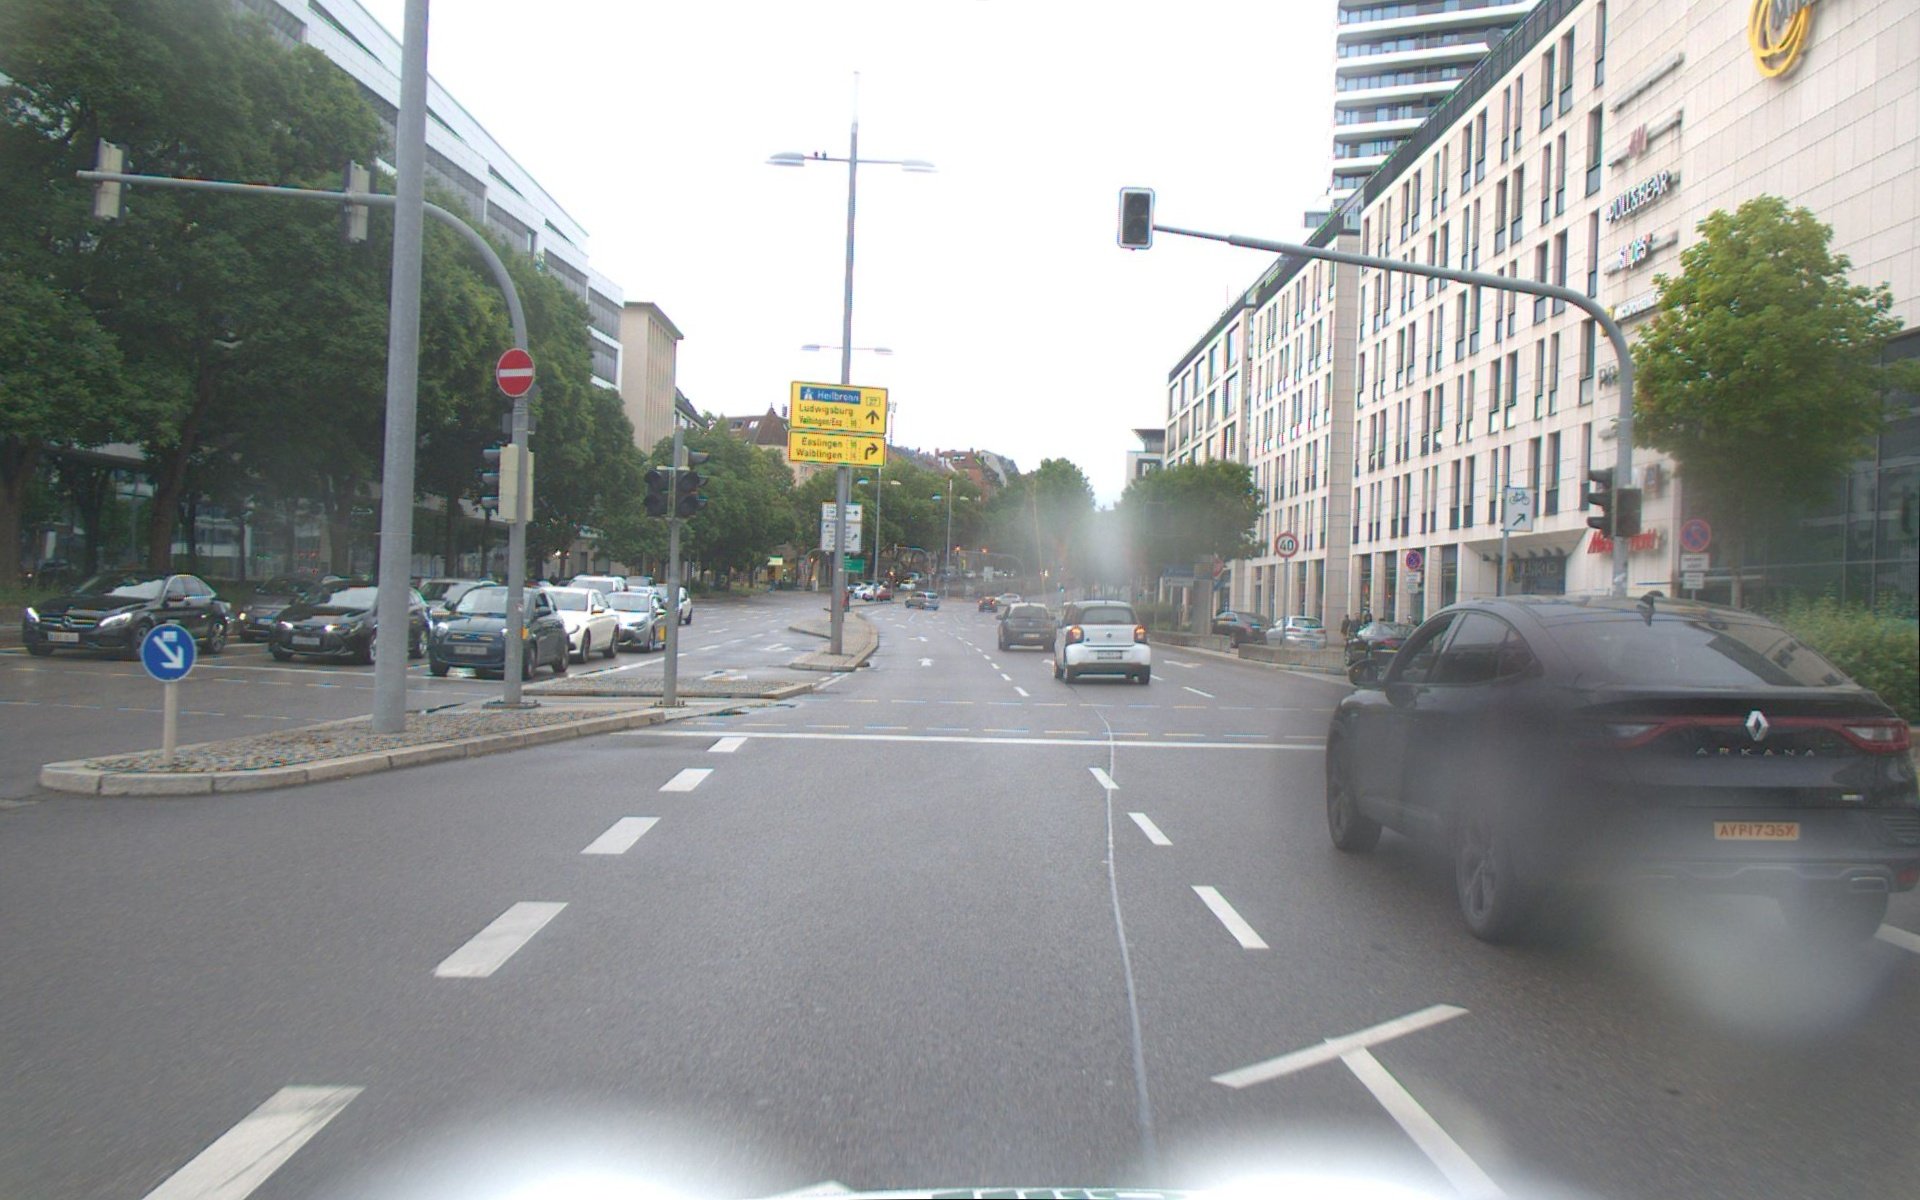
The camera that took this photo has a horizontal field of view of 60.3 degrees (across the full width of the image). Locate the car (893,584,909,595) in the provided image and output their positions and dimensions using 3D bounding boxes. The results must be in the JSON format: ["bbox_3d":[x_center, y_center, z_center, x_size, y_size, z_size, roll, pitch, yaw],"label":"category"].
[{"bbox_3d":[-8.468,-1.460,237.735,1.703,1.558,3.817,1,0,6],"label":"car"}]

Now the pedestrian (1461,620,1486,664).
[{"bbox_3d":[18.325,1.481,59.037,0.660,1.555,0.726,1,-1,-1],"label":"pedestrian"}]

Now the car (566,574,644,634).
[{"bbox_3d":[-11.098,0.152,51.912,1.708,1.779,3.538,1,-1,-1],"label":"car"}]

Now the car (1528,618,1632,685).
[{"bbox_3d":[12.840,1.035,34.388,1.474,1.288,3.505,1,-1,12],"label":"car"}]

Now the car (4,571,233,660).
[{"bbox_3d":[-14.017,0.270,27.830,1.708,1.352,4.224,1,-1,-1],"label":"car"}]

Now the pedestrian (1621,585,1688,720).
[{"bbox_3d":[9.769,0.737,23.271,0.712,1.864,0.510,1,-1,-1],"label":"pedestrian"}]

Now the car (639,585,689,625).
[{"bbox_3d":[-13.801,0.237,77.254,1.708,1.779,3.538,1,-1,-1],"label":"car"}]

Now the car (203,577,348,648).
[{"bbox_3d":[-14.907,0.282,36.203,1.708,1.448,3.538,1,-1,-1],"label":"car"}]

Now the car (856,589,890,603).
[{"bbox_3d":[-10.351,-0.508,196.662,3.762,1.558,1.728,1,0,-31],"label":"car"}]

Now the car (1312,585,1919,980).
[{"bbox_3d":[3.240,0.707,8.705,1.754,1.533,4.338,1,0,-1],"label":"car"}]

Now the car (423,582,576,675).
[{"bbox_3d":[-7.866,0.486,28.548,1.708,1.470,3.394,1,-1,-1],"label":"car"}]

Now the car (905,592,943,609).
[{"bbox_3d":[-3.478,0.030,159.561,1.729,1.558,3.759,1,0,-40],"label":"car"}]

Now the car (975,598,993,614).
[{"bbox_3d":[2.432,0.588,167.775,1.704,1.558,3.813,1,-1,-1],"label":"car"}]

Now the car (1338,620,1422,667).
[{"bbox_3d":[12.048,1.234,47.662,1.475,1.288,3.501,1,-1,-1],"label":"car"}]

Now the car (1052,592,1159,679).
[{"bbox_3d":[2.793,0.680,32.368,1.689,1.558,3.813,1,-1,-1],"label":"car"}]

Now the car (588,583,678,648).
[{"bbox_3d":[-8.007,0.400,40.807,1.507,1.503,3.695,1,-1,-1],"label":"car"}]

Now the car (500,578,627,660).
[{"bbox_3d":[-8.257,0.400,34.754,1.668,1.586,4.243,1,-1,-1],"label":"car"}]

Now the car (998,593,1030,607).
[{"bbox_3d":[6.503,0.026,199.450,3.720,1.558,1.747,1,0,7],"label":"car"}]

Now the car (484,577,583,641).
[{"bbox_3d":[-11.121,0.256,43.347,1.708,1.586,3.538,1,-1,-1],"label":"car"}]

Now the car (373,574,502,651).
[{"bbox_3d":[-11.359,0.281,36.196,1.708,1.586,3.538,1,-1,-1],"label":"car"}]

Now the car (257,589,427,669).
[{"bbox_3d":[-10.969,0.471,29.603,1.708,1.279,3.539,2,0,-1],"label":"car"}]

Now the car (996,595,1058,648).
[{"bbox_3d":[2.070,0.674,52.024,1.704,1.558,3.813,1,-1,-1],"label":"car"}]

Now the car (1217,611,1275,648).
[{"bbox_3d":[11.542,1.199,66.968,1.627,1.425,3.831,1,-1,-1],"label":"car"}]

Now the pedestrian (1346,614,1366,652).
[{"bbox_3d":[16.442,1.384,68.695,0.660,1.555,0.726,1,-1,-1],"label":"pedestrian"}]

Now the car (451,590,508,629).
[{"bbox_3d":[-22.992,0.480,79.319,1.708,1.779,3.538,1,-1,-1],"label":"car"}]

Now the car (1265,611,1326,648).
[{"bbox_3d":[12.435,1.080,61.441,1.475,1.288,3.501,1,-1,-1],"label":"car"}]

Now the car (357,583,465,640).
[{"bbox_3d":[-14.680,0.316,44.405,1.708,1.448,3.538,1,-1,-1],"label":"car"}]

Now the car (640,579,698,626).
[{"bbox_3d":[-11.475,0.123,65.413,1.708,1.779,3.538,1,-1,-1],"label":"car"}]

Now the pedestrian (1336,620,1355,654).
[{"bbox_3d":[18.035,1.728,77.398,0.660,1.555,0.726,1,-1,-1],"label":"pedestrian"}]
